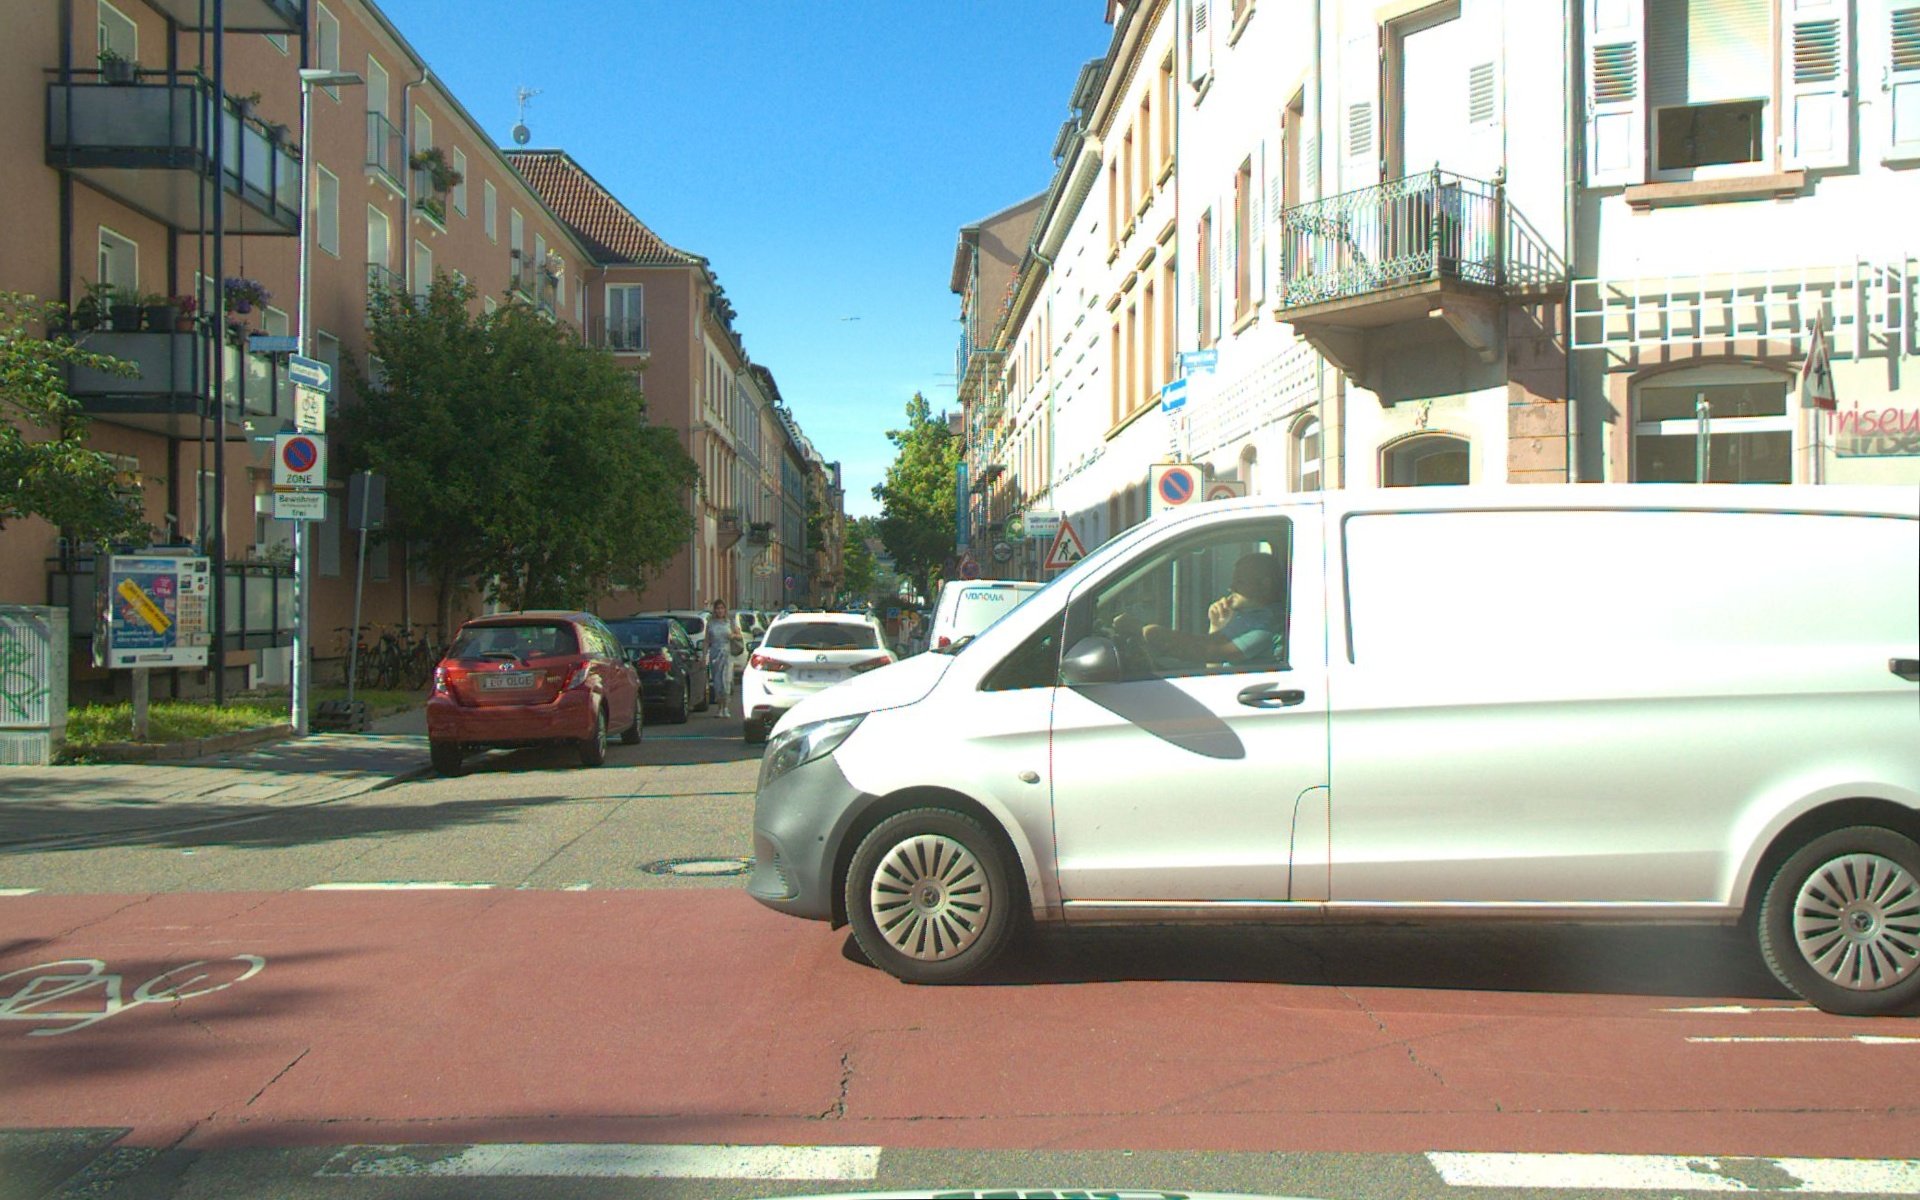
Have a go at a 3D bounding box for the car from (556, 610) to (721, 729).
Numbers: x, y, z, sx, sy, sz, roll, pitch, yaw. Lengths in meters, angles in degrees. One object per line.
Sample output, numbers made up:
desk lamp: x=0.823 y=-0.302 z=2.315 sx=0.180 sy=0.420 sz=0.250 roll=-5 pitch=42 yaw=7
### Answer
car: x=-4.445 y=0.905 z=23.365 sx=1.620 sy=1.526 sz=4.078 roll=0 pitch=0 yaw=-1

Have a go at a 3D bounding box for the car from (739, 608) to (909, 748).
car: x=-1.515 y=0.843 z=19.649 sx=1.794 sy=1.482 sz=3.961 roll=0 pitch=0 yaw=-2

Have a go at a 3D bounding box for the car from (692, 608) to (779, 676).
car: x=-5.264 y=0.961 z=39.177 sx=1.620 sy=1.526 sz=3.761 roll=0 pitch=0 yaw=-1

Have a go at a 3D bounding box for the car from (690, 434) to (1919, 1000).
car: x=1.746 y=0.404 z=6.959 sx=5.291 sy=1.941 sz=2.109 roll=0 pitch=0 yaw=8

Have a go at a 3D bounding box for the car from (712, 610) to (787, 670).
car: x=-5.585 y=1.044 z=44.204 sx=1.620 sy=1.526 sz=3.761 roll=0 pitch=0 yaw=-1

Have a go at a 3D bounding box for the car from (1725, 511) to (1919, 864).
car: x=7.261 y=0.492 z=9.673 sx=4.906 sy=1.980 sz=2.051 roll=0 pitch=0 yaw=21

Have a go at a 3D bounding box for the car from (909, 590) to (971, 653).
car: x=-0.643 y=0.671 z=52.405 sx=1.856 sy=1.892 sz=3.993 roll=-1 pitch=0 yaw=-1

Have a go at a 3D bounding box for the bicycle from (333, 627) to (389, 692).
bicycle: x=-10.034 y=0.992 z=27.691 sx=1.193 sy=1.053 sz=0.290 roll=0 pitch=0 yaw=38

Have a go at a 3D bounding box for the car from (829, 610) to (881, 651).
car: x=-3.829 y=1.101 z=61.004 sx=1.725 sy=1.435 sz=4.326 roll=0 pitch=0 yaw=-1

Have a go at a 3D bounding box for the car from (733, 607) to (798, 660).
car: x=-5.813 y=0.977 z=49.741 sx=1.620 sy=1.526 sz=3.761 roll=0 pitch=0 yaw=-1

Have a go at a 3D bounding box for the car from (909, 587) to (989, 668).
car: x=-0.296 y=0.643 z=40.423 sx=1.856 sy=1.892 sz=3.993 roll=0 pitch=0 yaw=-1

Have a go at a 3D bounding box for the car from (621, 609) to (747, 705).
car: x=-4.686 y=0.927 z=28.518 sx=1.620 sy=1.526 sz=3.761 roll=0 pitch=0 yaw=-1

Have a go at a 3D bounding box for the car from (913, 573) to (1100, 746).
car: x=0.460 y=0.681 z=21.190 sx=1.857 sy=1.892 sz=5.010 roll=2 pitch=0 yaw=-4

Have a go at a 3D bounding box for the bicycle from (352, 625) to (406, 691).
bicycle: x=-9.832 y=0.966 z=27.965 sx=1.193 sy=1.091 sz=0.265 roll=0 pitch=0 yaw=38

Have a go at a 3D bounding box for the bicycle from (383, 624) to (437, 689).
bicycle: x=-9.462 y=0.967 z=28.436 sx=1.193 sy=1.090 sz=0.252 roll=0 pitch=0 yaw=38

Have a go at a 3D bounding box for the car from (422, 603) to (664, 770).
car: x=-4.267 y=0.823 z=17.485 sx=1.651 sy=1.526 sz=3.805 roll=-1 pitch=0 yaw=-1

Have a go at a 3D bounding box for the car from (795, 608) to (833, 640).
car: x=-7.121 y=1.149 z=80.822 sx=1.620 sy=1.526 sz=3.761 roll=0 pitch=0 yaw=-1

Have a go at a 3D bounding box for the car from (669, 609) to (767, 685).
car: x=-5.114 y=0.968 z=35.338 sx=1.620 sy=1.526 sz=3.761 roll=0 pitch=0 yaw=-1

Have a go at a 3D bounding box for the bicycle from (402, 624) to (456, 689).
bicycle: x=-9.174 y=0.974 z=28.570 sx=1.196 sy=1.090 sz=0.252 roll=0 pitch=0 yaw=38

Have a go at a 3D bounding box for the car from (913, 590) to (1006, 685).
car: x=-0.058 y=0.752 z=34.972 sx=1.856 sy=1.892 sz=3.993 roll=0 pitch=0 yaw=-1

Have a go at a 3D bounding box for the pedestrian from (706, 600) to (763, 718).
pedestrian: x=-3.219 y=0.827 z=23.601 sx=0.720 sy=1.642 sz=0.813 roll=0 pitch=-1 yaw=-14

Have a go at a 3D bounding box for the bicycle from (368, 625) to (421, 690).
bicycle: x=-9.644 y=0.974 z=28.201 sx=1.193 sy=1.089 sz=0.252 roll=0 pitch=0 yaw=38

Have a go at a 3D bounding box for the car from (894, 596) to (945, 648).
car: x=-1.513 y=0.796 z=62.350 sx=1.856 sy=1.892 sz=3.993 roll=0 pitch=0 yaw=-1
